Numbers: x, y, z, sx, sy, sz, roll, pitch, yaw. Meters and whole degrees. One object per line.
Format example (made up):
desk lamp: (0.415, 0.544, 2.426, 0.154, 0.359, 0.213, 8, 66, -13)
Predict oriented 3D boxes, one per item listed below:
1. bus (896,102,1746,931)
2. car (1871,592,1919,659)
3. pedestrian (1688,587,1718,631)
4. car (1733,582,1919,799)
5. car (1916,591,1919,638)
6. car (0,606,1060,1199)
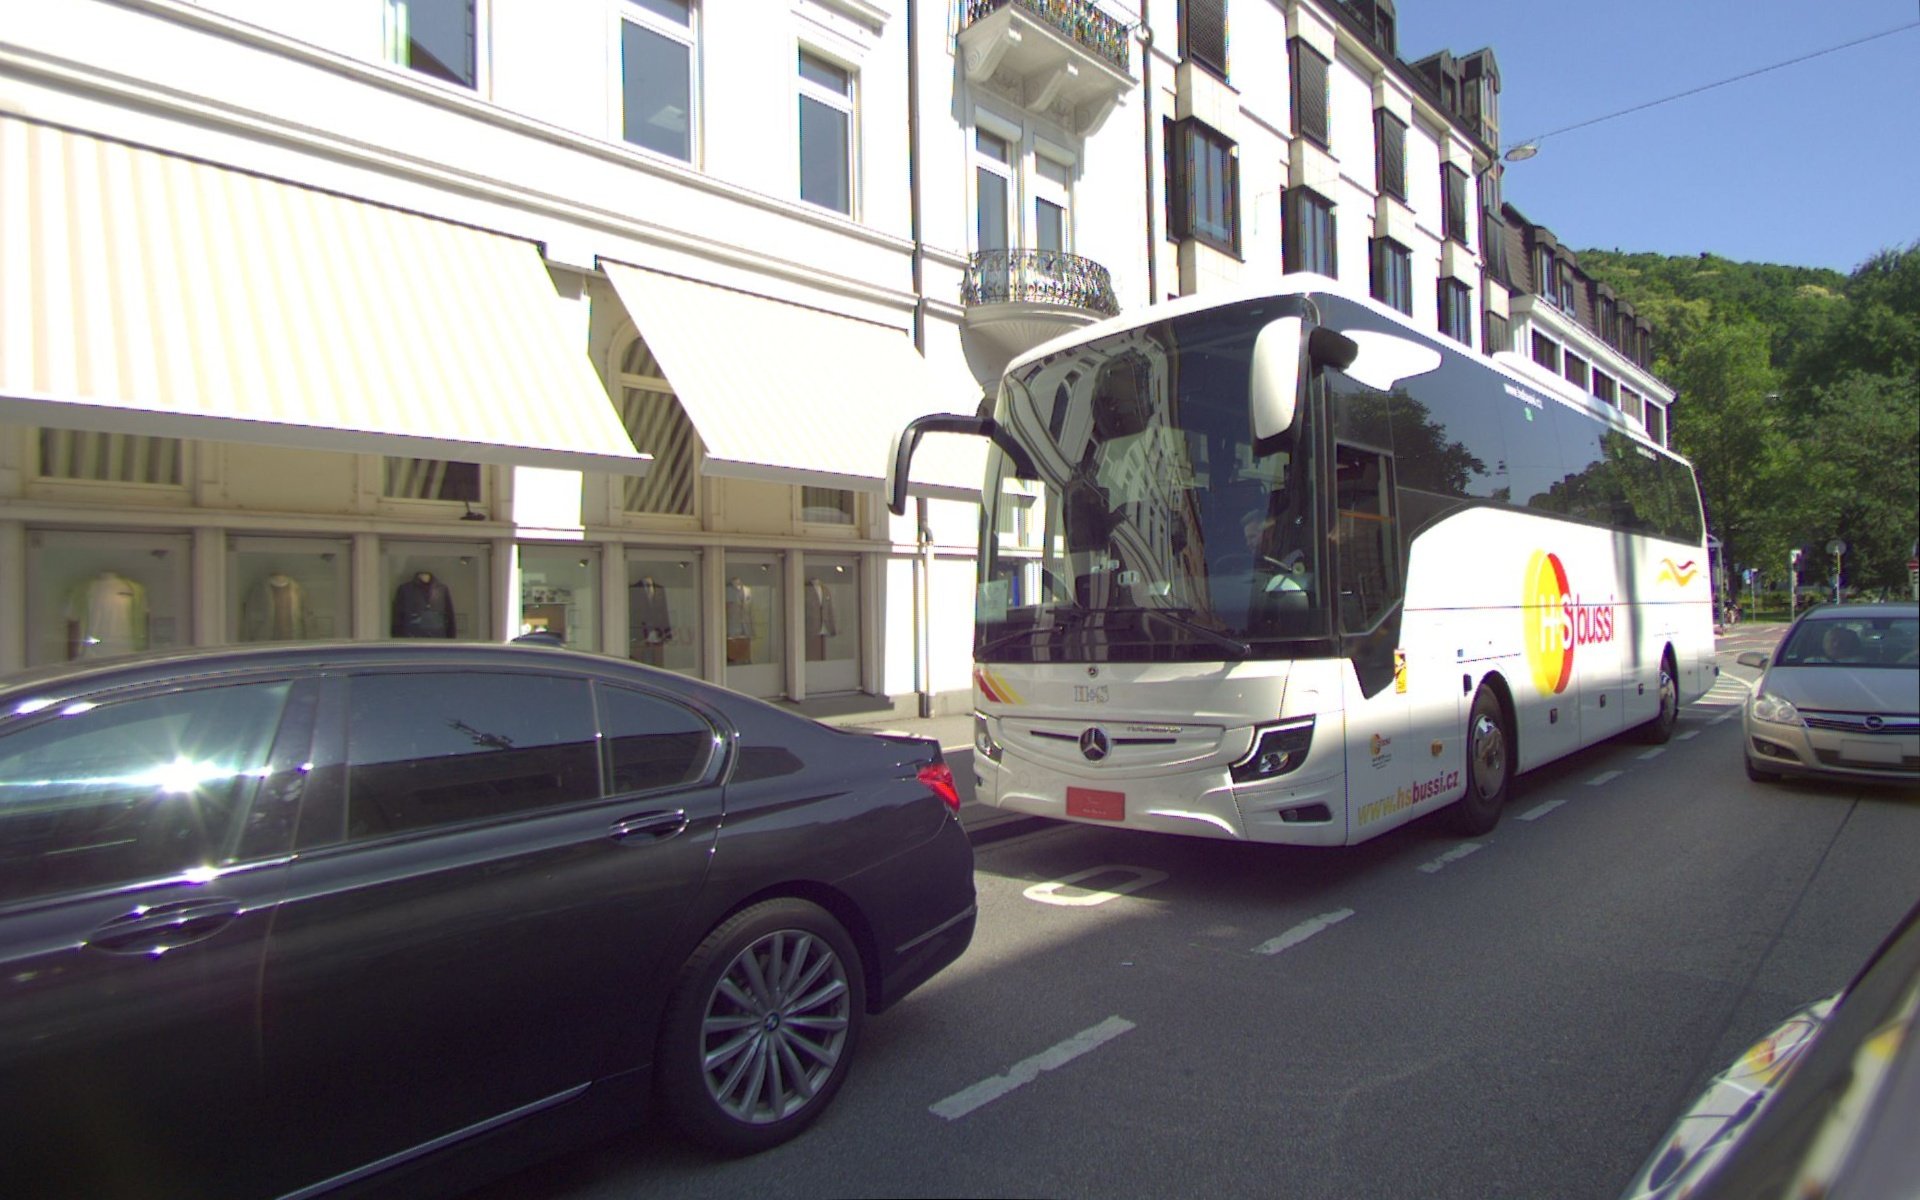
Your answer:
bus: (4.937, -0.368, 9.995, 2.881, 3.791, 12.227, -5, -3, 44)
car: (22.929, 0.550, 23.992, 1.841, 1.447, 4.150, -2, 0, 41)
pedestrian: (32.182, 0.376, 43.834, 0.683, 1.859, 0.835, -2, 0, -35)
car: (8.266, 0.633, 8.839, 4.333, 1.542, 1.708, 0, -2, -44)
car: (32.416, 0.417, 32.758, 4.272, 1.447, 1.937, -1, 0, -44)
car: (-2.148, 0.824, 2.623, 5.138, 1.489, 1.860, 0, -3, -44)
